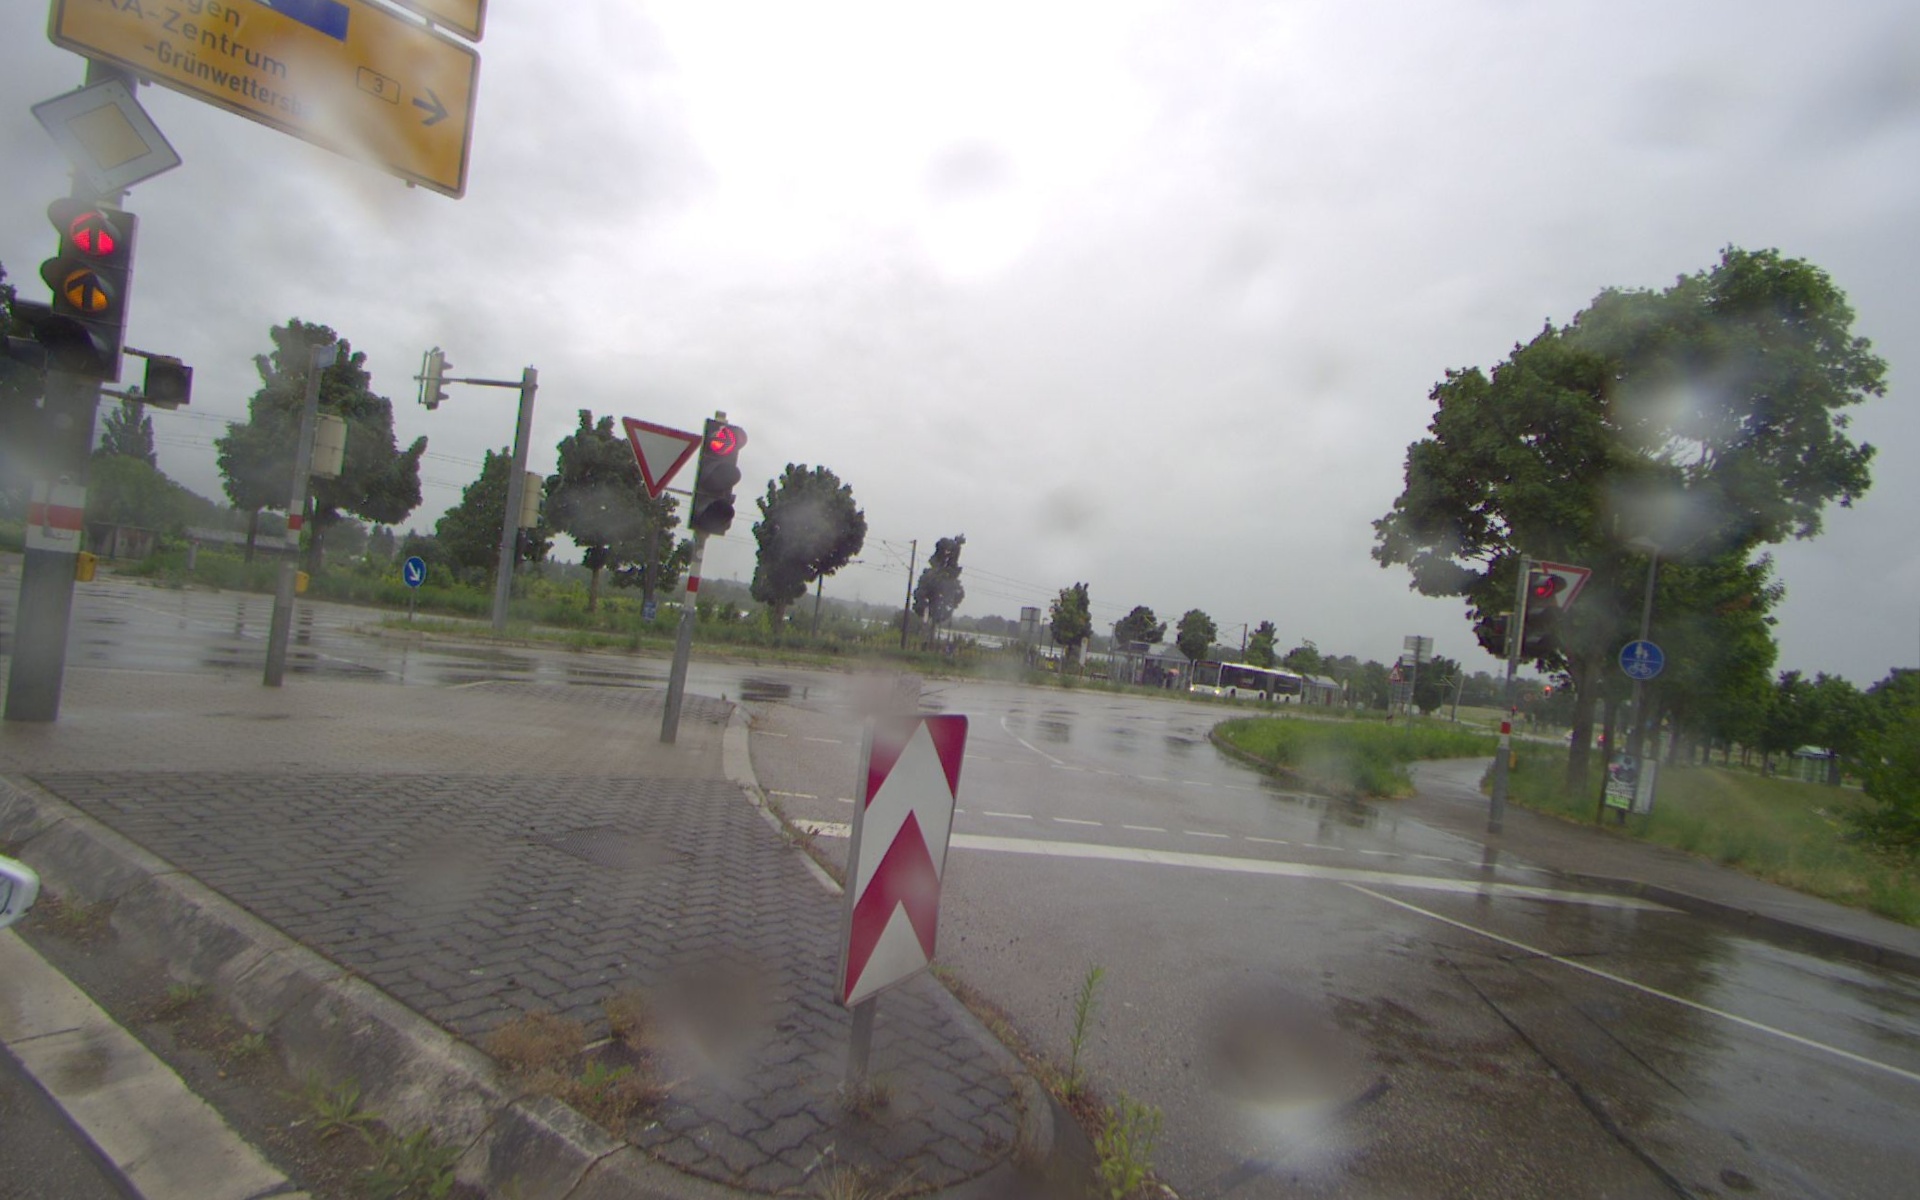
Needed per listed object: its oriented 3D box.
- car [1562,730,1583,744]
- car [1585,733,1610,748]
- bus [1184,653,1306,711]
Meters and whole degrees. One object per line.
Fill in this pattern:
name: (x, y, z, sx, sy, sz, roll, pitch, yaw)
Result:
car: (75.907, 16.961, 124.663, 1.850, 1.370, 4.042, 7, -1, 34)
car: (74.155, 16.337, 116.970, 1.853, 1.370, 4.036, 6, -2, 40)
bus: (24.263, 7.056, 84.259, 2.715, 3.828, 18.379, 7, -2, 38)
